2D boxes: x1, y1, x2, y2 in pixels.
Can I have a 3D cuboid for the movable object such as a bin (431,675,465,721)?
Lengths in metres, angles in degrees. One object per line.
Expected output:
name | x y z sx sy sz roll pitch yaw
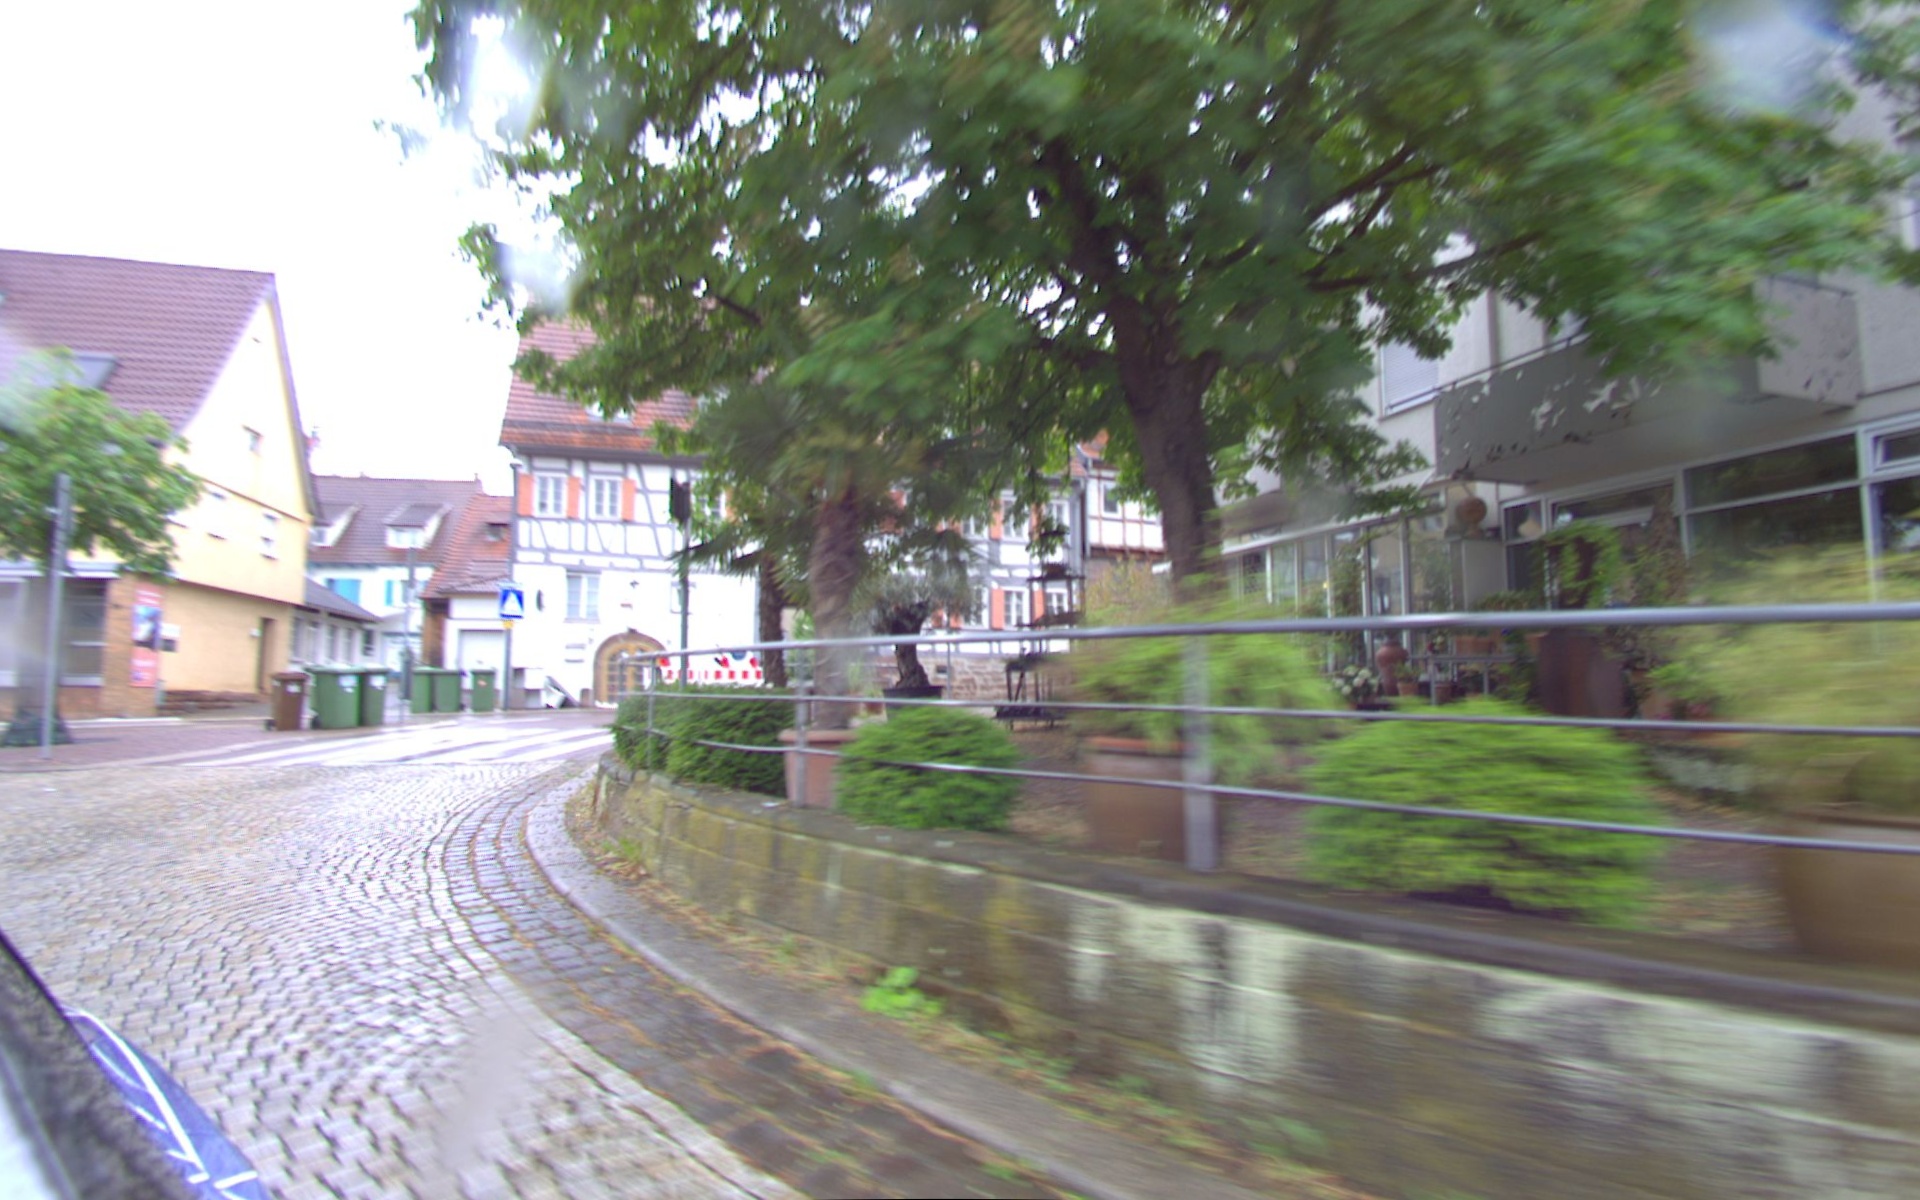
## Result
movable object such as a bin | -12.239 2.338 24.196 0.532 1.074 0.618 -1 -4 -3

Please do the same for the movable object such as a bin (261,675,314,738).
movable object such as a bin | -11.189 1.763 16.853 0.564 1.012 0.507 -3 -4 22

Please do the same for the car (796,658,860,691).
car | -6.331 3.559 48.410 2.938 1.462 1.415 -1 -5 -10

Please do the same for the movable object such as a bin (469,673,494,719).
movable object such as a bin | -11.570 2.319 24.476 0.530 1.074 0.683 0 -4 -26

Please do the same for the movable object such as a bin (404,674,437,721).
movable object such as a bin | -12.893 2.322 24.192 0.576 1.074 0.683 -1 -4 -17

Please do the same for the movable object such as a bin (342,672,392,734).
movable object such as a bin | -10.347 1.795 17.669 0.529 1.041 0.542 -3 -3 13

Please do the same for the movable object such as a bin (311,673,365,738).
movable object such as a bin | -10.486 1.768 17.077 0.566 1.045 0.539 -3 -4 13
